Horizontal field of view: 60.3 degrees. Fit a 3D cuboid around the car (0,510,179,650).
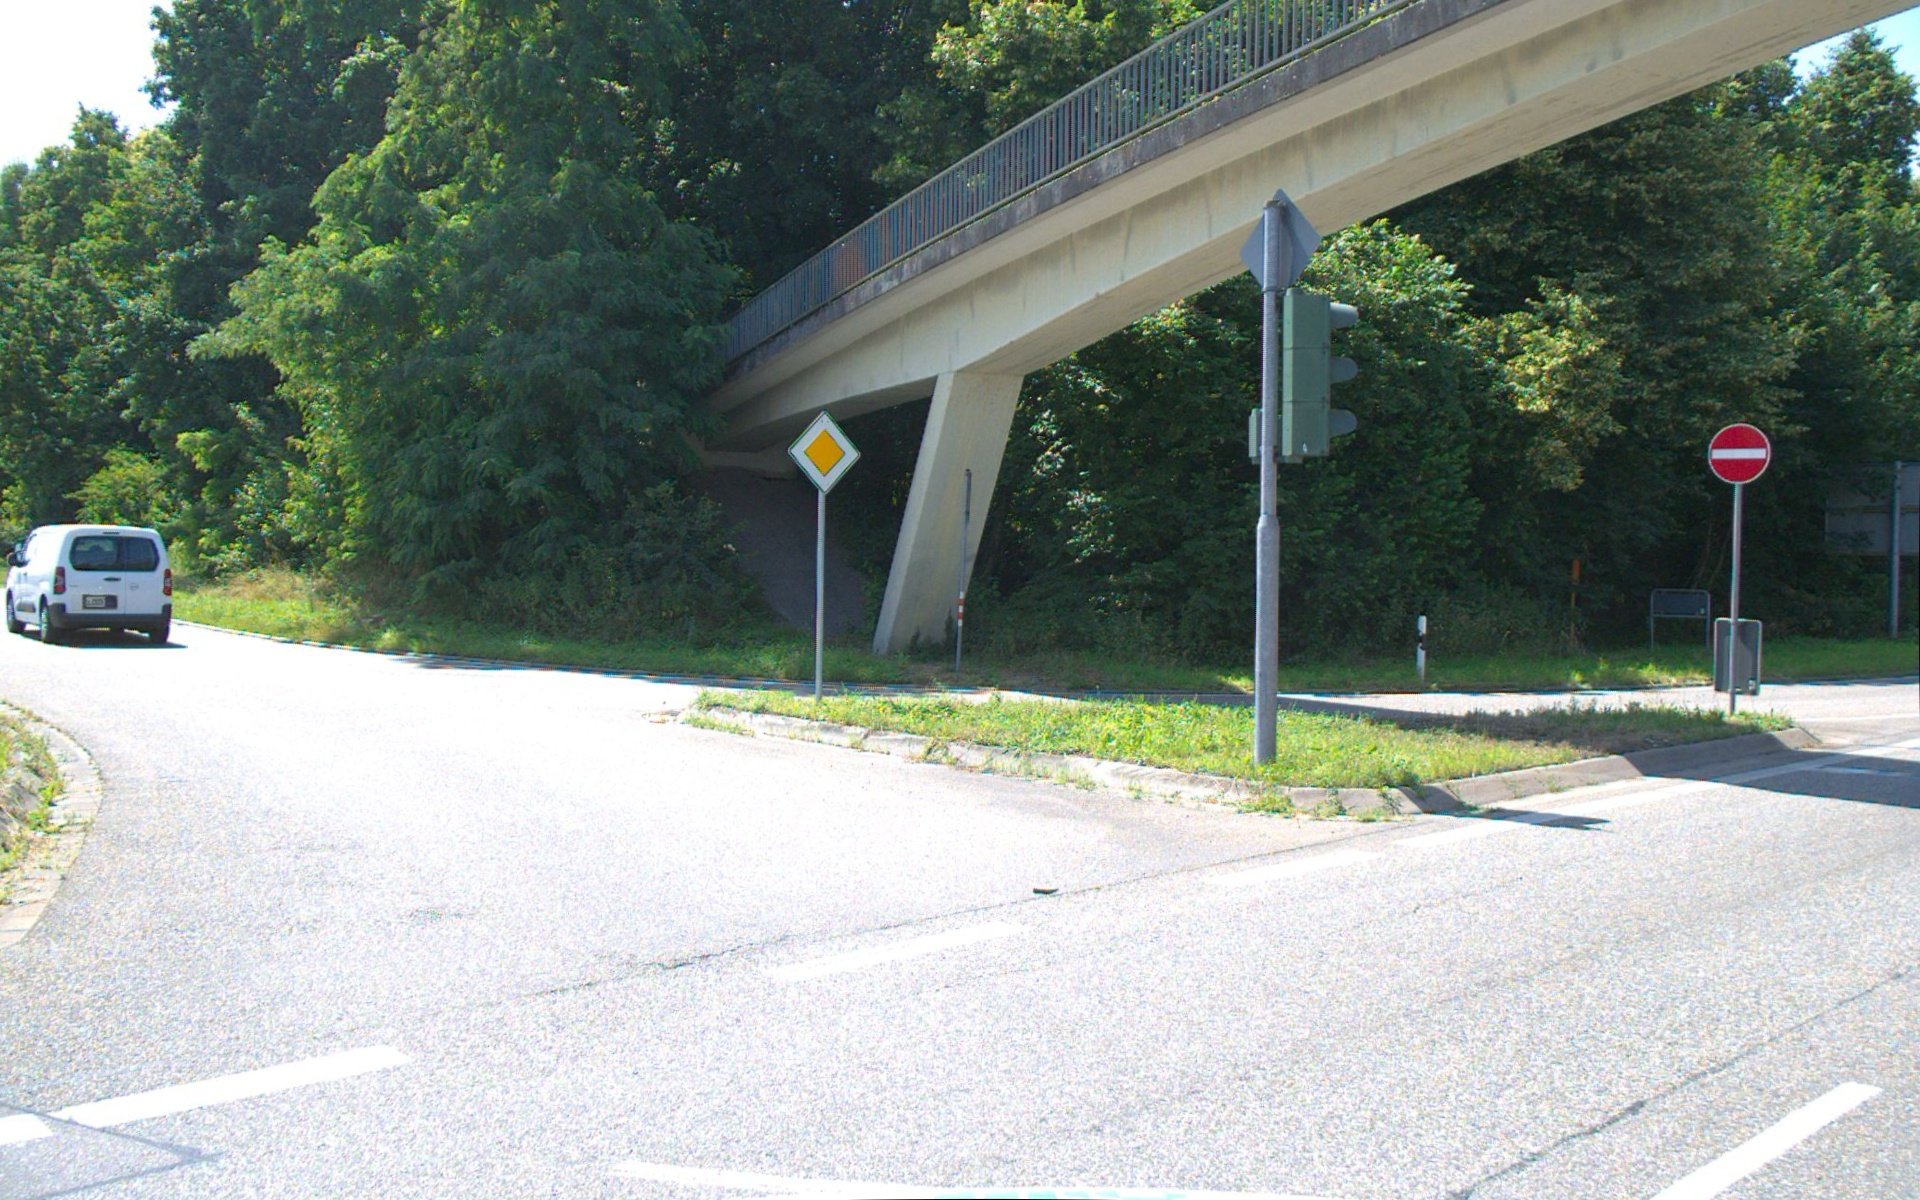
[{"bbox_3d":[-14.162,-0.367,26.773,1.837,1.856,3.928,1,5,-39],"label":"car"}]
